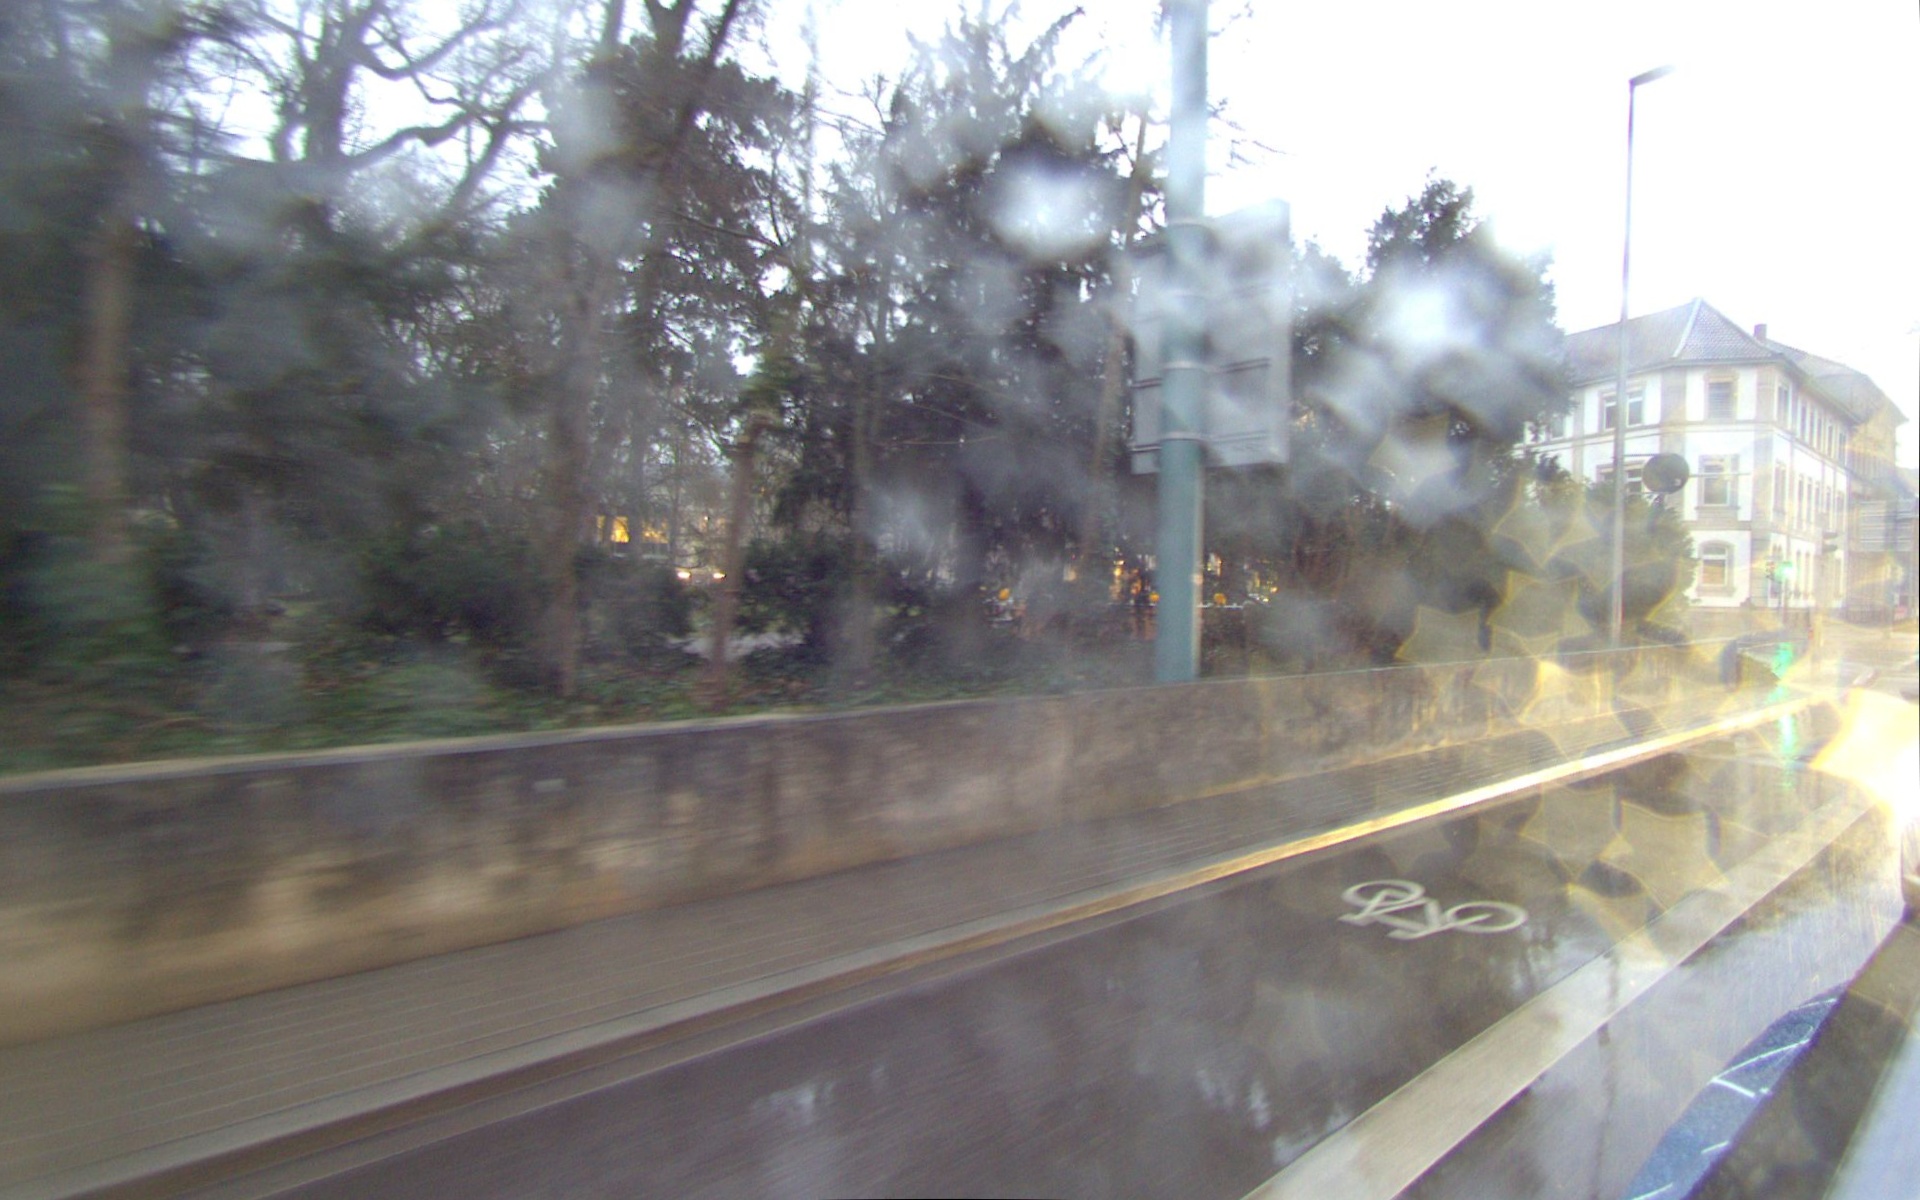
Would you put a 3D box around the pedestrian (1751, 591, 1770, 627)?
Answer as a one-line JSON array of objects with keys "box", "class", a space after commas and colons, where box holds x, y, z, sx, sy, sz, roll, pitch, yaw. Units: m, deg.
[{"box": [33.852, 0.372, 42.793, 0.517, 1.529, 0.581, 2, 1, 33], "class": "pedestrian"}]

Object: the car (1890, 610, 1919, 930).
[{"box": [6.208, 0.745, 5.146, 3.912, 1.388, 1.796, 0, 0, -42], "class": "car"}]
